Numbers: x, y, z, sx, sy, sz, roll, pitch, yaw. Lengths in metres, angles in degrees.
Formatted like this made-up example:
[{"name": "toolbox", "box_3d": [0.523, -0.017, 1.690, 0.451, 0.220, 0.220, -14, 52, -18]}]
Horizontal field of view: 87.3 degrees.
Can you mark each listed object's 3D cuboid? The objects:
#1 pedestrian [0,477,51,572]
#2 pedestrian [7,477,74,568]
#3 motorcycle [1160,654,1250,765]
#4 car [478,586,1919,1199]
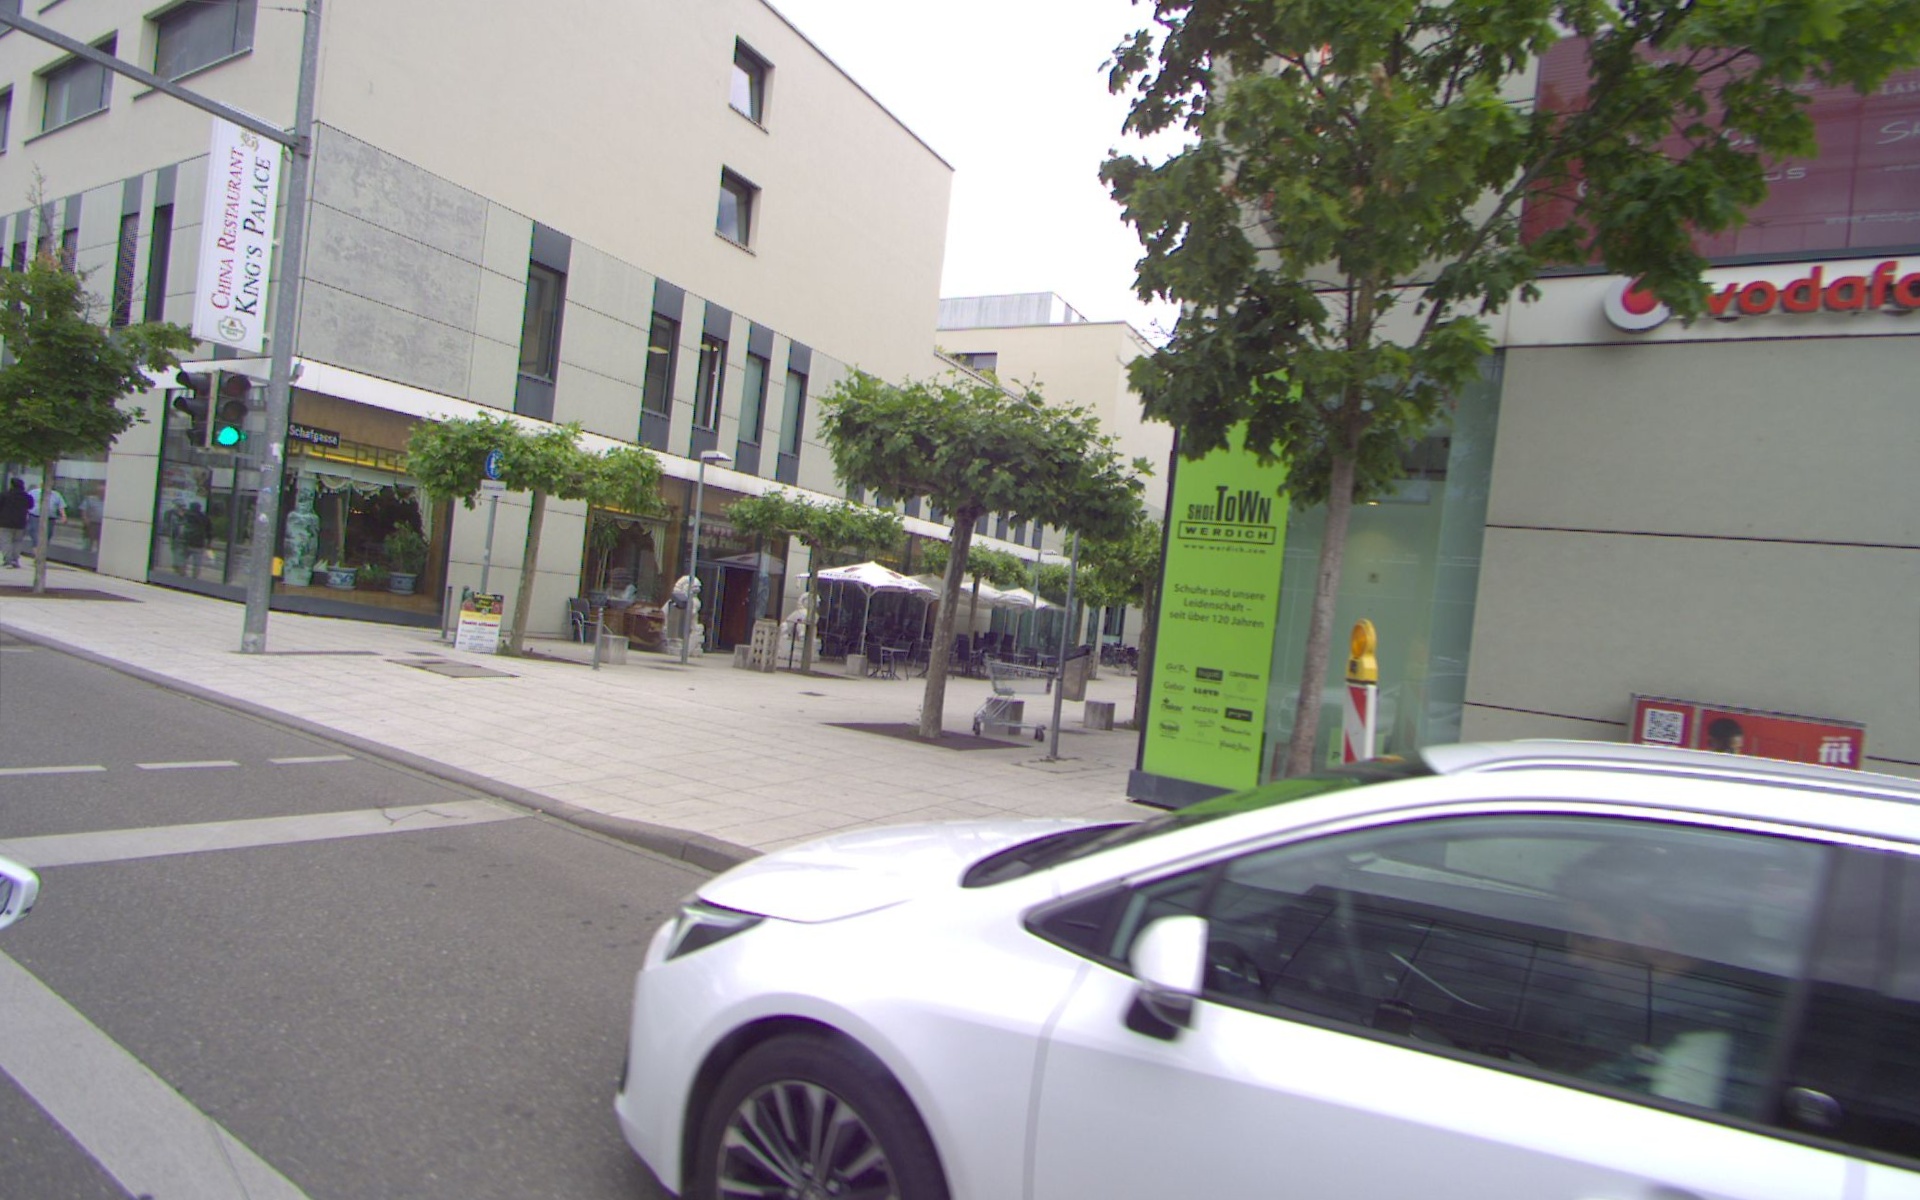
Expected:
[{"name": "pedestrian", "box_3d": [-17.180, -1.376, 18.261, 0.703, 1.628, 0.741, 7, 1, 32]}, {"name": "pedestrian", "box_3d": [-18.411, -1.546, 20.154, 0.604, 1.690, 0.745, 7, 1, 32]}, {"name": "motorcycle", "box_3d": [3.187, 1.405, 12.946, 0.584, 1.272, 1.844, 4, -3, 29]}, {"name": "car", "box_3d": [1.300, 0.978, 1.992, 4.438, 1.442, 1.786, 7, -1, 30]}]
